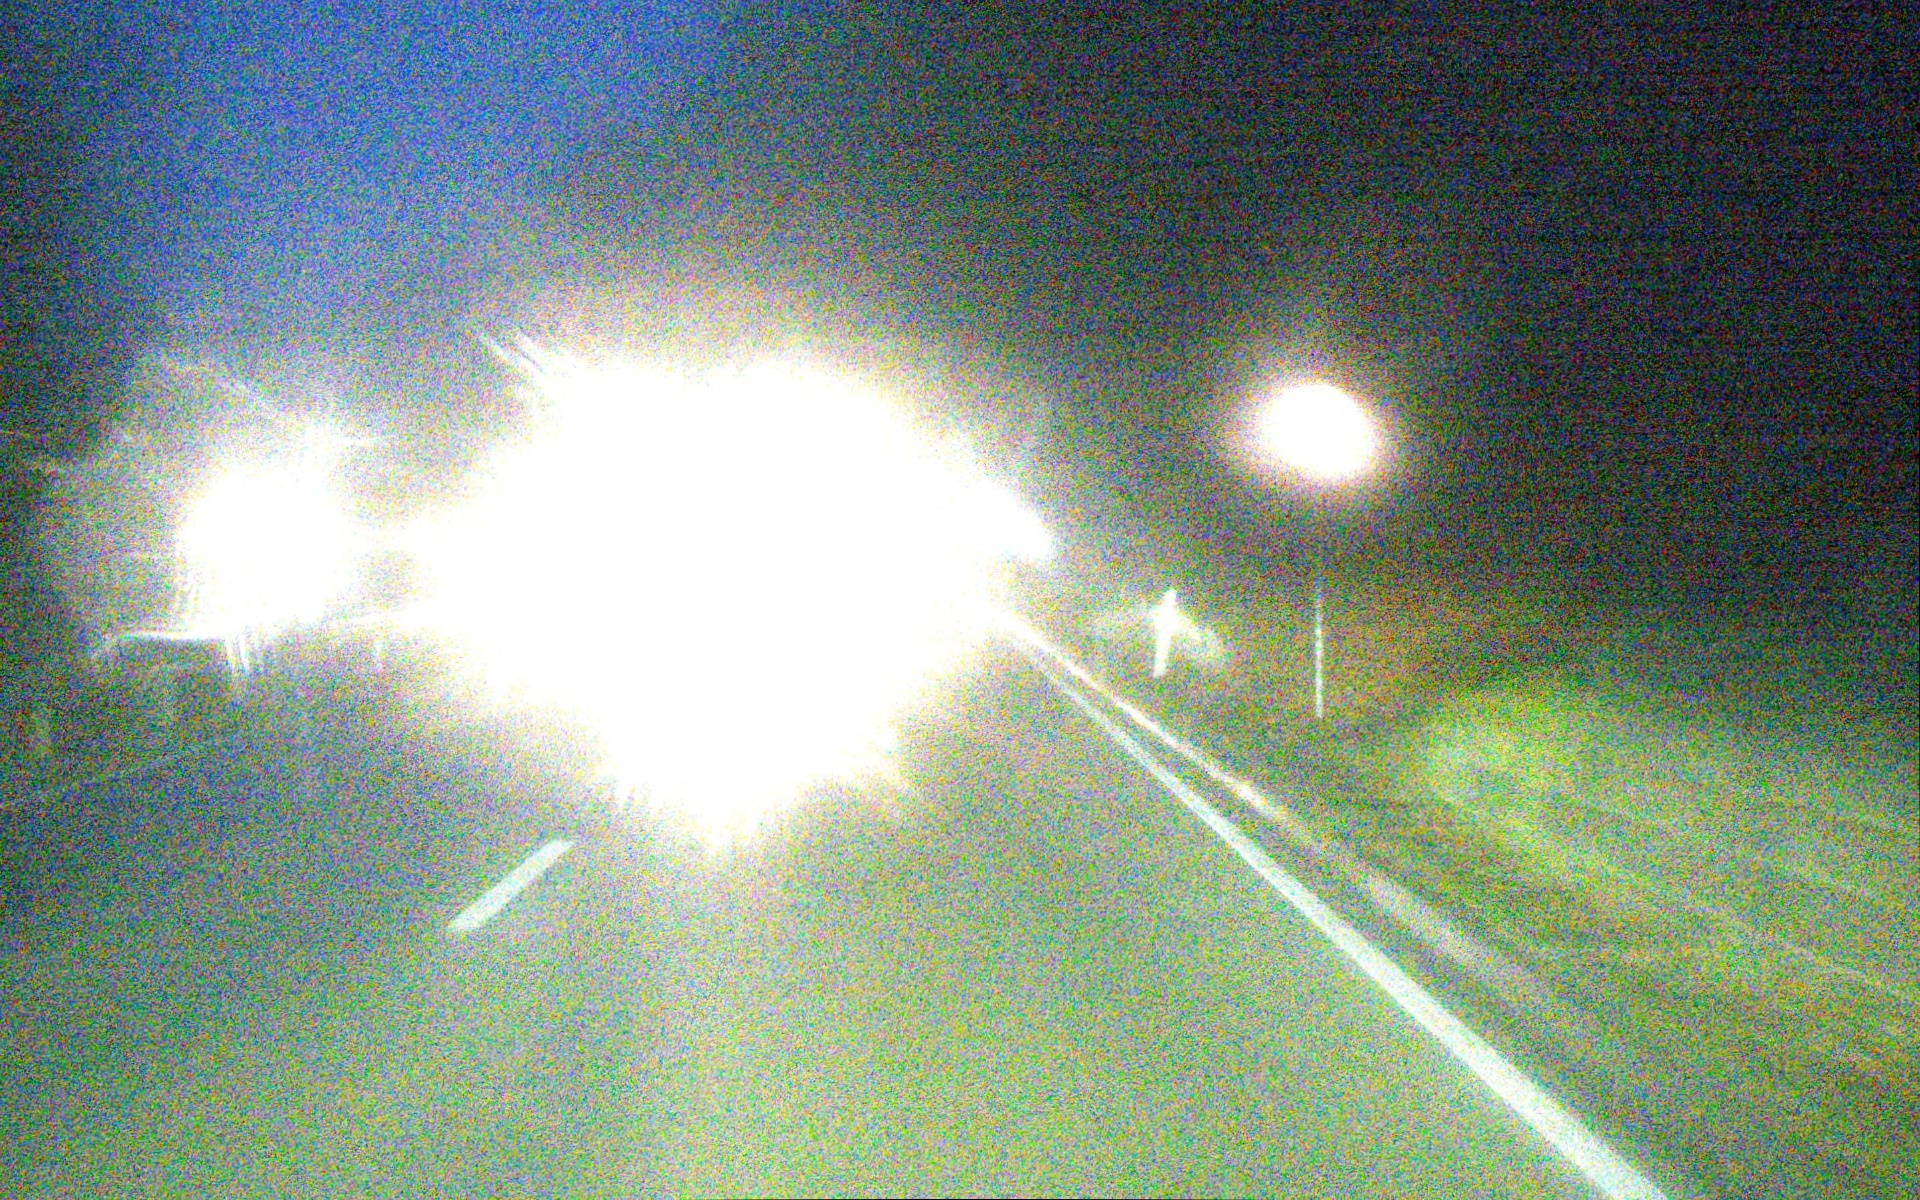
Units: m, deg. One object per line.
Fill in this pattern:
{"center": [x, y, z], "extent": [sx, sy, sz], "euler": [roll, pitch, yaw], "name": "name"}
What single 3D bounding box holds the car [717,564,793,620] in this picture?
{"center": [-5.597, -0.242, 94.286], "extent": [1.993, 1.452, 4.099], "euler": [-1, 1, -3], "name": "car"}
